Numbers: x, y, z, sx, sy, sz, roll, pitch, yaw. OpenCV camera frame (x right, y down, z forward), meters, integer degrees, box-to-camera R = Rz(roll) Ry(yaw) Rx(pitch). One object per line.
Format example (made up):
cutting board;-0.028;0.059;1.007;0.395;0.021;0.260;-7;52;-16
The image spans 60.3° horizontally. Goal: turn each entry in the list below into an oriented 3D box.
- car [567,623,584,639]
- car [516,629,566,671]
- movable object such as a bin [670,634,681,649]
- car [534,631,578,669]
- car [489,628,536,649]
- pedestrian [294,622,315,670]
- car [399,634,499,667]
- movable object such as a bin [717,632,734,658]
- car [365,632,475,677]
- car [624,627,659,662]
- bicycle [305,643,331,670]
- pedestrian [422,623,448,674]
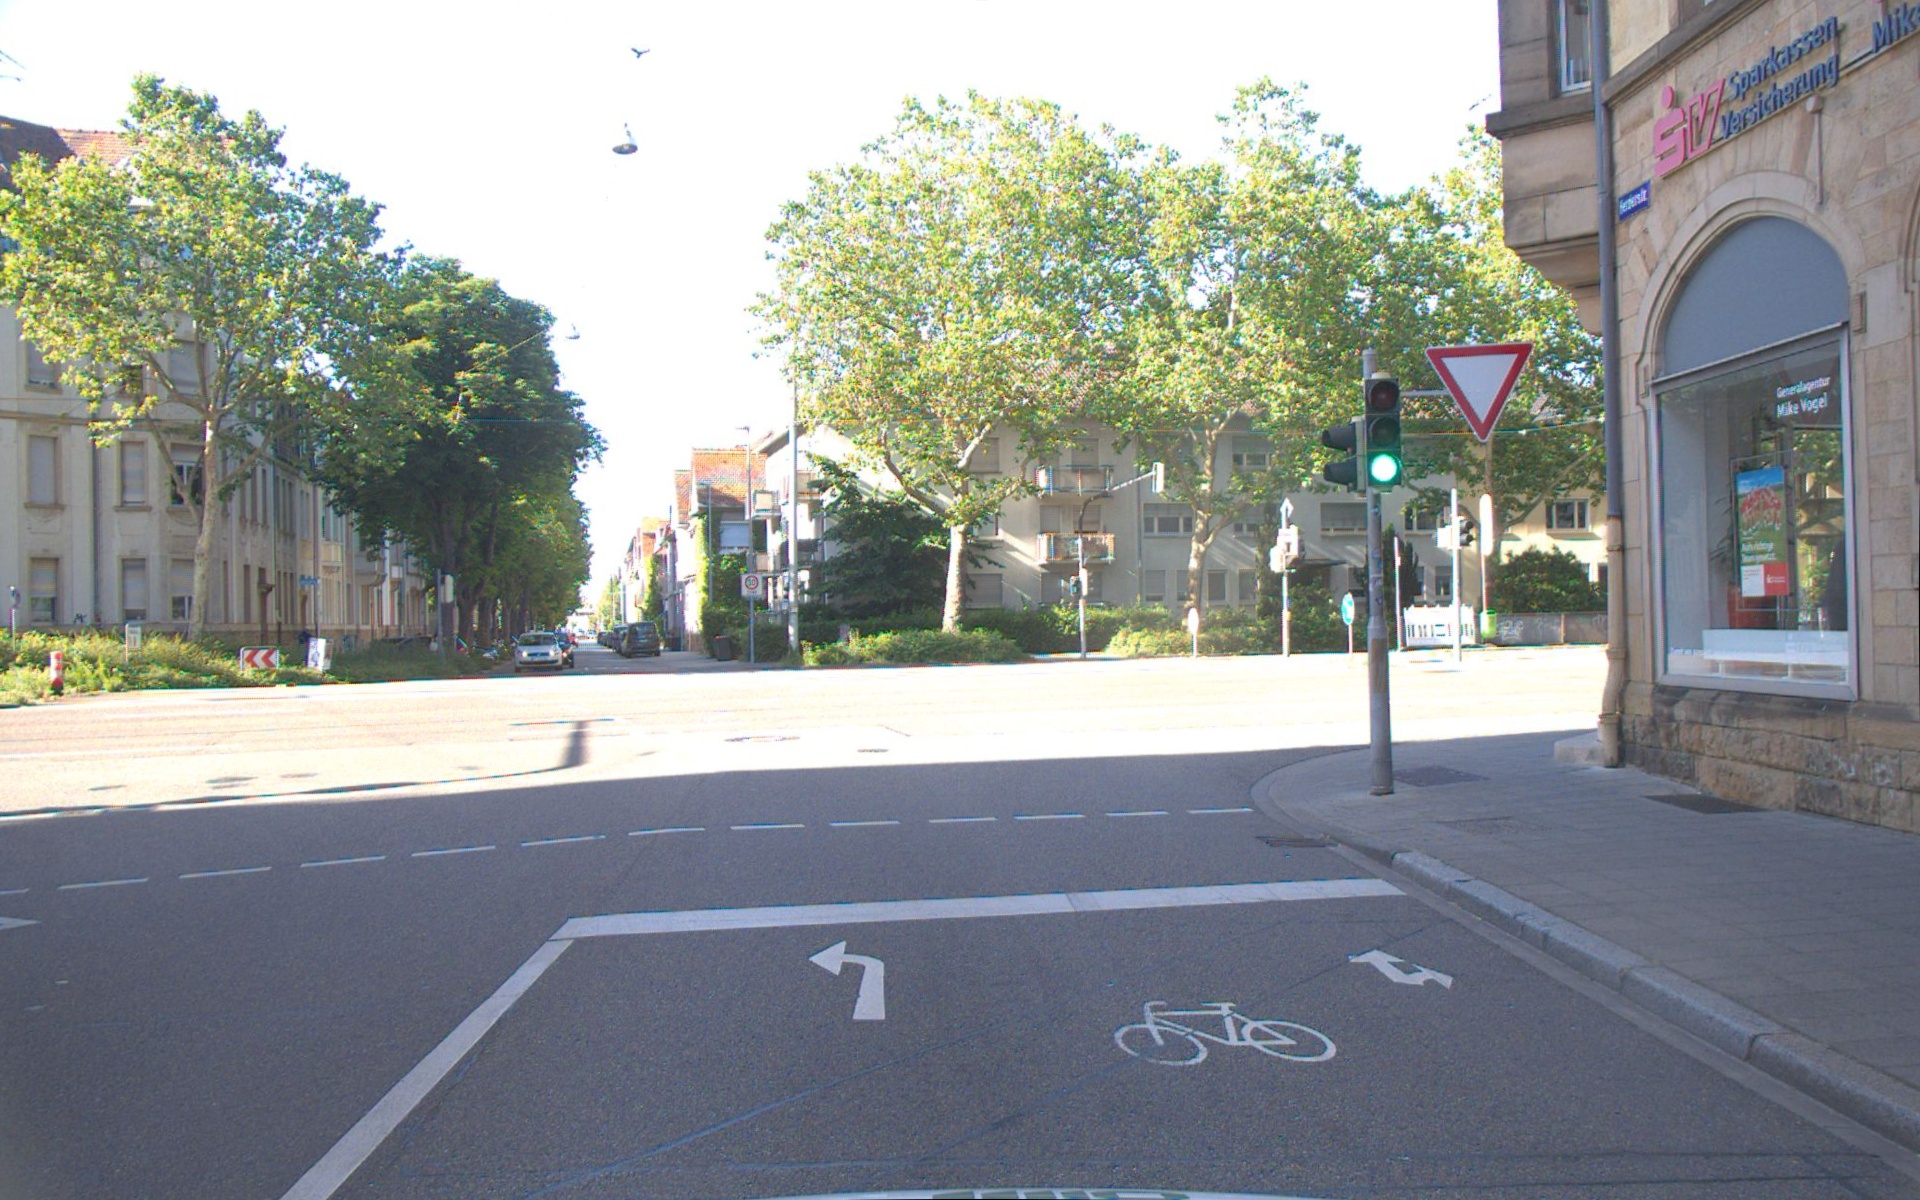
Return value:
car;-40.426;3.281;173.906;1.613;1.535;3.689;-2;-1;-14
car;-15.934;1.914;62.976;1.776;1.484;3.985;-1;-2;-14
movable object such as a bin;-19.903;2.901;115.553;0.637;1.058;0.824;-2;-1;-16
car;-16.821;2.053;68.989;1.632;1.490;3.796;-1;-1;-12
car;-39.535;3.412;145.973;3.924;1.792;1.789;1;-2;-17
pedestrian;-23.731;1.665;59.909;0.451;1.687;0.893;-1;-1;-5
car;-22.865;2.262;74.097;4.140;1.372;1.697;-1;-2;-14
movable object such as a bin;-10.279;1.975;72.397;0.587;1.062;0.704;-5;0;-16
car;-20.532;2.059;63.039;3.817;1.501;1.609;-2;-1;-14
car;-18.256;2.546;94.710;1.833;1.950;4.766;1;-1;-13
bicycle;-23.237;2.030;59.860;0.463;0.928;1.594;-1;-1;-6
pedestrian;-17.771;1.637;56.002;0.680;1.711;0.680;-1;-1;-3
